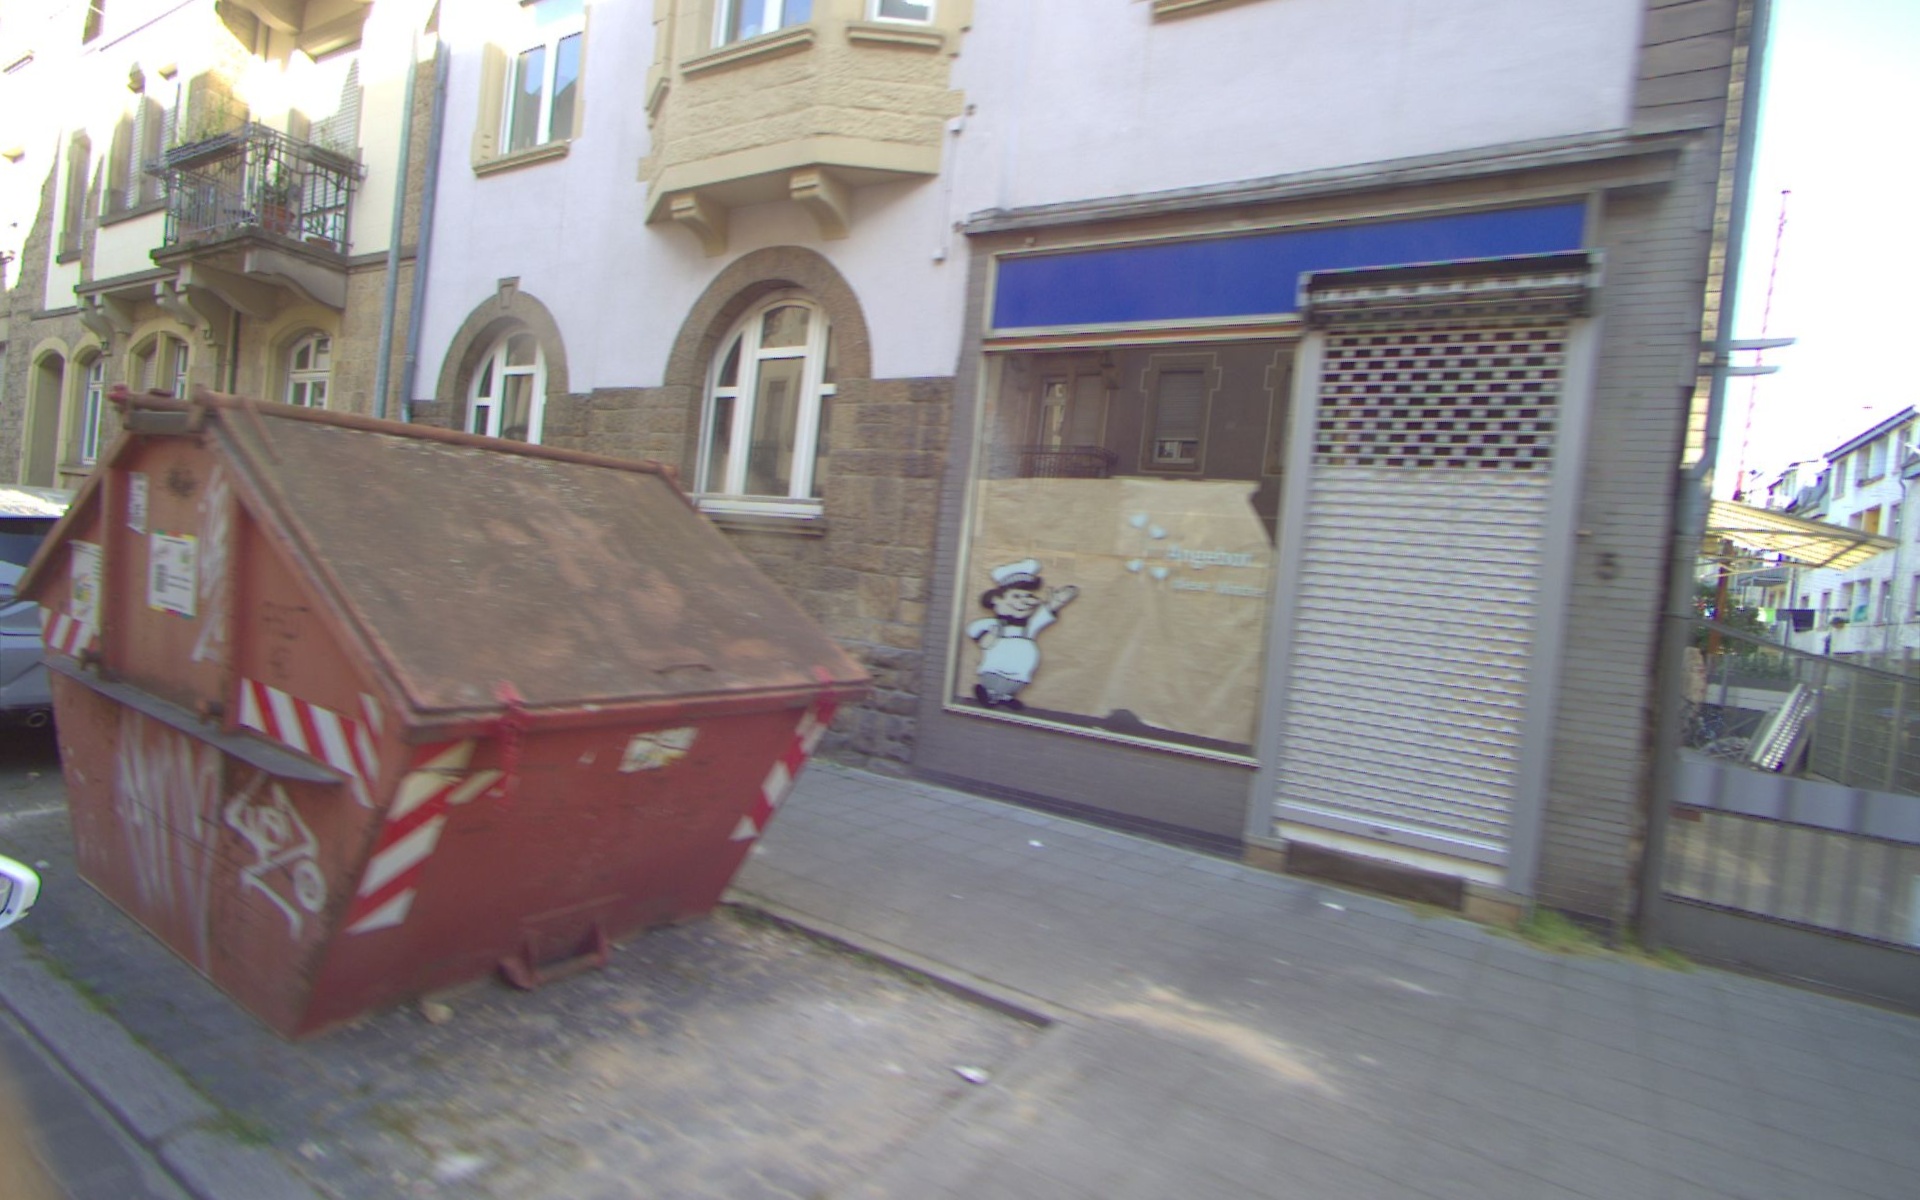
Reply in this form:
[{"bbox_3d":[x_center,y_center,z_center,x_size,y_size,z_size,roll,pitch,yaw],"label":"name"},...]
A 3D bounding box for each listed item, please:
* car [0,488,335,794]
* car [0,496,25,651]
[{"bbox_3d":[-5.903,0.049,6.241,3.742,1.448,1.789,7,1,29],"label":"car"},{"bbox_3d":[-9.899,-0.448,8.788,3.878,1.271,1.693,7,1,34],"label":"car"}]
